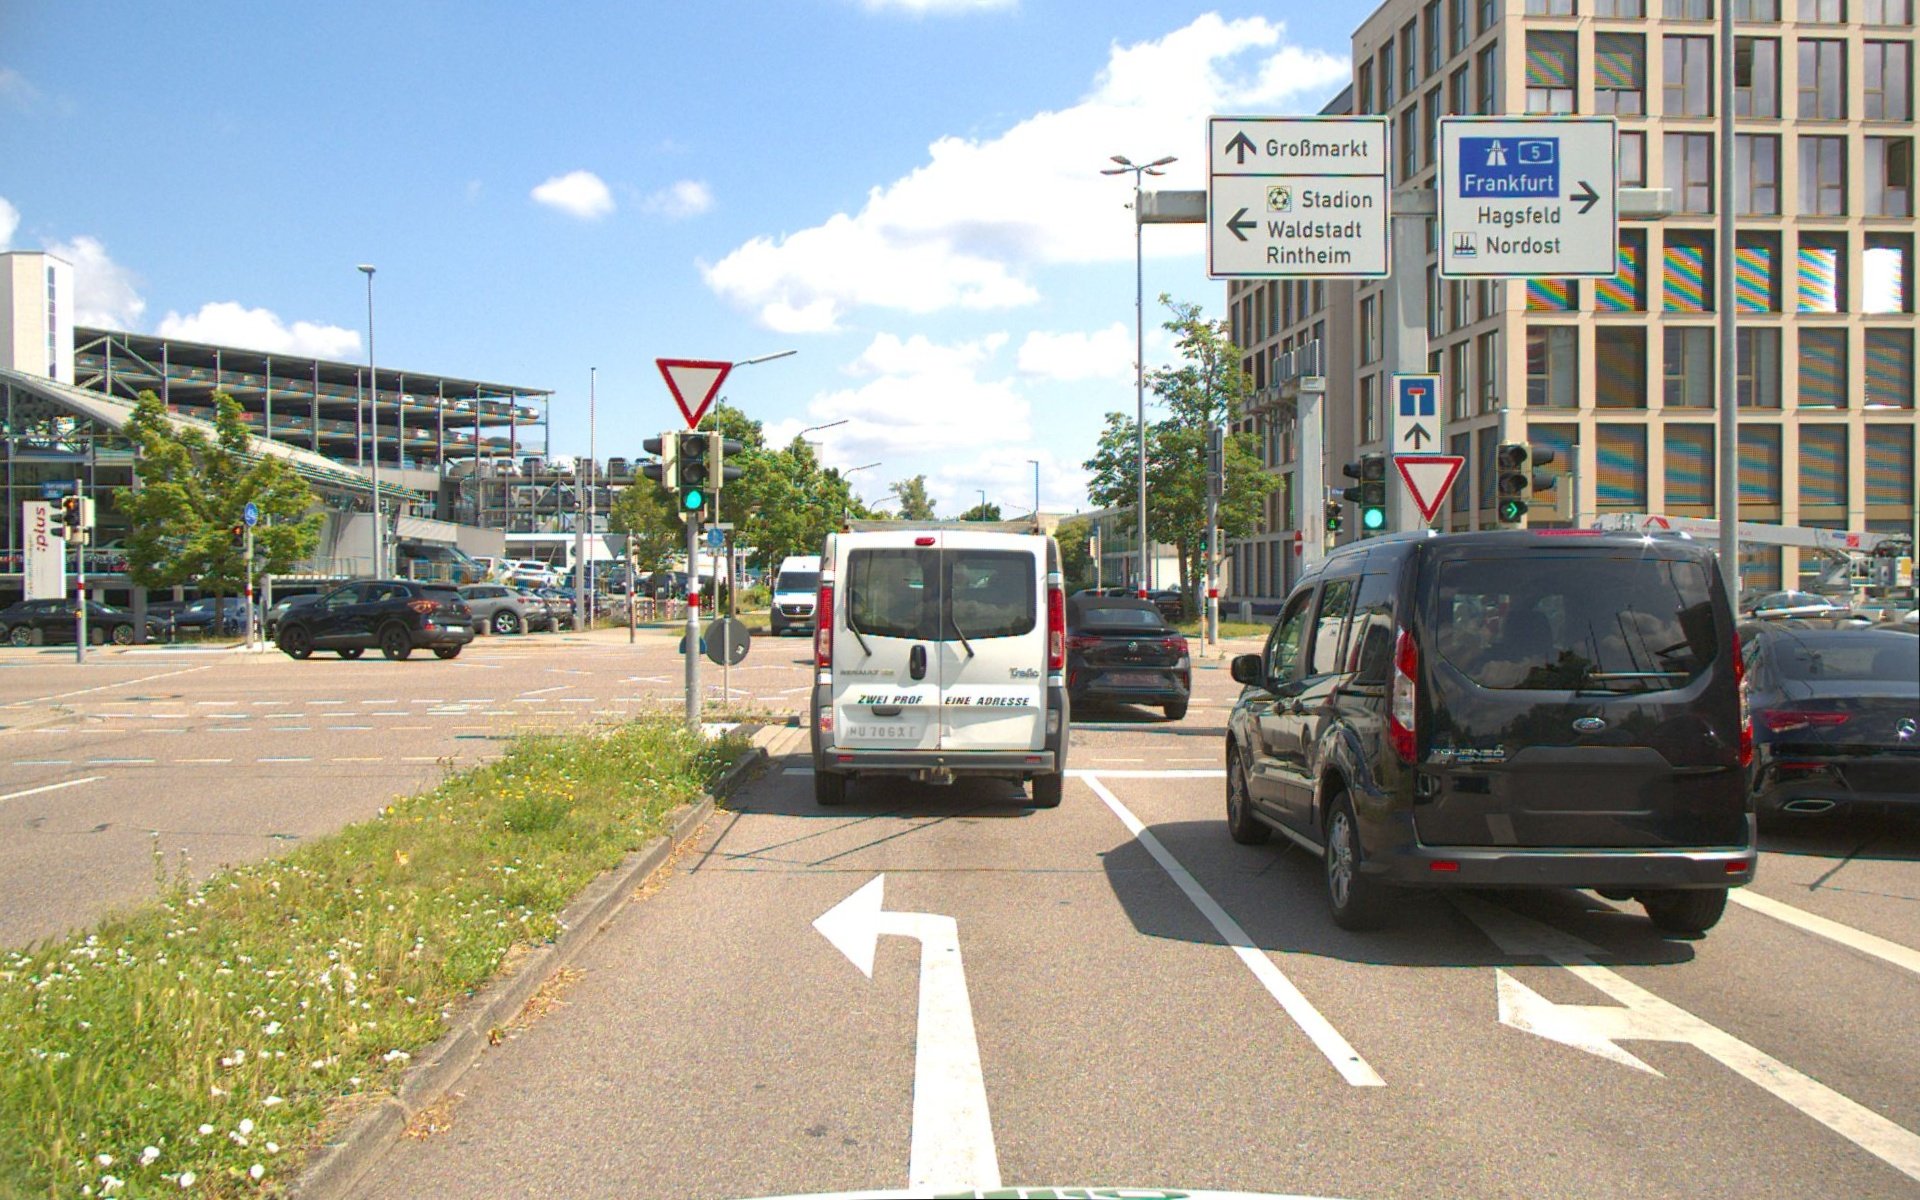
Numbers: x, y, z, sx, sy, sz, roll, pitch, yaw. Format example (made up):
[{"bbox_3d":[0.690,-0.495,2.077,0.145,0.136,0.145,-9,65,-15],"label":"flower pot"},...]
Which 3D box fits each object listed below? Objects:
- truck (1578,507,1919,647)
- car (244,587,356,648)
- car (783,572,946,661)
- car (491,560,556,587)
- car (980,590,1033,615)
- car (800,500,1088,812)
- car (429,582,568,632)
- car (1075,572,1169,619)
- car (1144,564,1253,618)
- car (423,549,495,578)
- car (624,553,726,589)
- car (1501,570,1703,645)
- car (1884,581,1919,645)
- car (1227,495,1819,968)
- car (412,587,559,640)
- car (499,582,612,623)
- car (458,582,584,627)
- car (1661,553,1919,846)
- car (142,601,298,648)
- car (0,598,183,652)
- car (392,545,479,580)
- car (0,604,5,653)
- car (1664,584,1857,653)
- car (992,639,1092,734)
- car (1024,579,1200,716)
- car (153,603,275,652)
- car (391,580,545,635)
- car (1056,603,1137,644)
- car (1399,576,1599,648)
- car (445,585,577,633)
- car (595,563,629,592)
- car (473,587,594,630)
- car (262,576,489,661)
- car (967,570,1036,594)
[{"bbox_3d":[22.449,-0.580,46.265,9.569,3.617,2.670,1,-1,-9],"label":"truck"},{"bbox_3d":[-19.652,0.521,49.473,1.864,1.707,4.584,1,-1,-6],"label":"car"},{"bbox_3d":[-1.967,0.330,32.835,1.751,1.646,3.963,1,-1,-28],"label":"car"},{"bbox_3d":[-27.759,-1.705,105.244,3.918,1.579,1.759,1,-1,-13],"label":"car"},{"bbox_3d":[3.567,0.207,127.700,3.909,1.780,1.998,1,-1,-6],"label":"car"},{"bbox_3d":[-0.154,0.386,13.467,1.933,2.096,4.563,0,0,-1],"label":"car"},{"bbox_3d":[-16.651,0.261,59.822,4.485,1.707,1.905,1,-1,-4],"label":"car"},{"bbox_3d":[7.457,-0.203,76.266,3.913,2.049,1.996,1,-1,-9],"label":"car"},{"bbox_3d":[9.521,-0.324,66.119,3.913,2.049,1.996,1,-1,-9],"label":"car"},{"bbox_3d":[-29.587,-2.129,97.811,3.918,1.579,1.759,1,-1,-13],"label":"car"},{"bbox_3d":[-18.109,-1.817,105.325,6.264,2.139,1.762,1,-1,-6],"label":"car"},{"bbox_3d":[15.142,0.182,39.094,4.120,1.655,1.824,1,-1,-9],"label":"car"},{"bbox_3d":[26.618,0.376,43.116,4.115,1.655,1.826,1,-1,-5],"label":"car"},{"bbox_3d":[2.647,0.548,8.823,1.786,1.938,4.000,0,0,0],"label":"car"},{"bbox_3d":[-16.216,0.469,56.724,4.485,1.707,1.905,1,-1,-4],"label":"car"},{"bbox_3d":[-17.650,0.122,72.286,4.485,1.707,1.905,1,-1,-4],"label":"car"},{"bbox_3d":[-17.184,0.175,64.961,4.485,1.707,1.905,0,0,-4],"label":"car"},{"bbox_3d":[6.374,0.662,11.935,1.820,1.684,4.221,5,0,16],"label":"car"},{"bbox_3d":[-26.187,0.868,58.653,4.650,1.537,1.982,-1,-3,-7],"label":"car"},{"bbox_3d":[-25.852,0.761,49.148,4.650,1.490,1.793,-1,-3,-7],"label":"car"},{"bbox_3d":[-29.359,-2.078,92.670,4.356,1.833,1.762,1,-1,-7],"label":"car"},{"bbox_3d":[-29.661,0.784,48.072,1.755,1.490,3.994,-1,-3,-6],"label":"car"},{"bbox_3d":[20.567,0.471,42.601,4.114,1.655,1.827,1,-1,-3],"label":"car"},{"bbox_3d":[1.545,1.638,32.400,1.737,1.658,4.000,0,0,0],"label":"car"},{"bbox_3d":[1.935,0.581,22.144,1.739,1.658,3.997,0,0,-4],"label":"car"},{"bbox_3d":[-21.953,0.799,48.868,1.864,1.320,4.584,1,-1,-6],"label":"car"},{"bbox_3d":[-16.018,0.256,54.026,4.485,1.707,1.905,1,-1,-4],"label":"car"},{"bbox_3d":[7.289,1.254,88.420,3.913,2.049,1.996,1,-1,-9],"label":"car"},{"bbox_3d":[14.849,0.340,45.666,4.883,1.870,1.996,1,-1,-9],"label":"car"},{"bbox_3d":[-16.925,0.341,62.484,4.485,1.707,1.905,1,-1,-4],"label":"car"},{"bbox_3d":[-20.659,-1.314,98.292,1.531,1.579,3.597,1,-1,-6],"label":"car"},{"bbox_3d":[-17.371,0.335,67.514,4.485,1.707,1.905,0,0,-4],"label":"car"},{"bbox_3d":[-12.152,0.377,34.448,4.164,1.646,1.778,1,-1,16],"label":"car"},{"bbox_3d":[3.808,-1.647,152.633,6.214,2.049,2.571,1,-1,-3],"label":"car"}]
